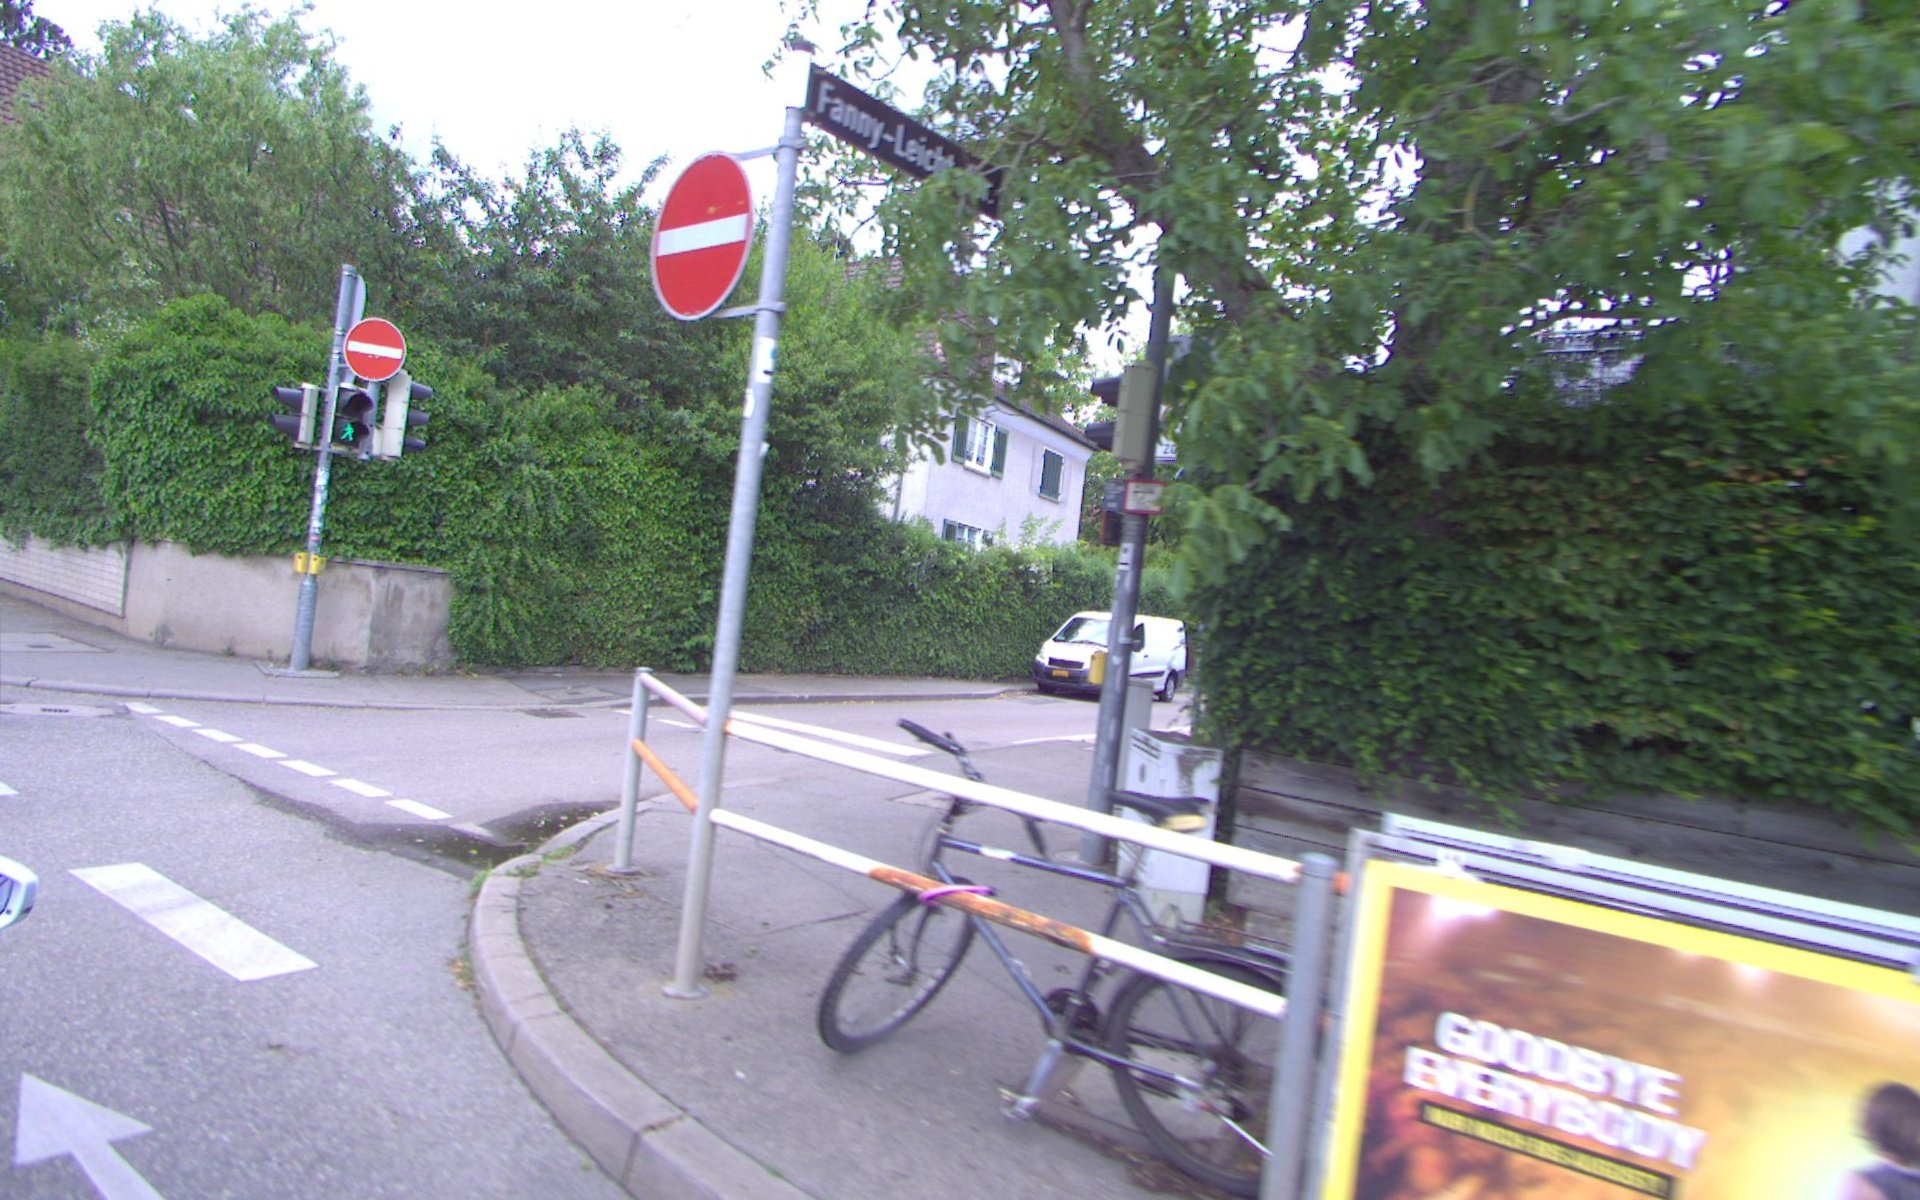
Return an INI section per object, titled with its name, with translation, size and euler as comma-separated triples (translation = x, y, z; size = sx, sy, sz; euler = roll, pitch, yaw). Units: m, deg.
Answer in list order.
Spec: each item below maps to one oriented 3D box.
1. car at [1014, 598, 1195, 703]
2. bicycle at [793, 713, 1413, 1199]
[car]
translation = 3.390, 1.172, 22.698
size = 1.968, 1.929, 4.891
euler = 7, 0, 34
[bicycle]
translation = 0.368, 0.955, 2.814
size = 1.479, 1.041, 0.629
euler = 7, 0, 31
